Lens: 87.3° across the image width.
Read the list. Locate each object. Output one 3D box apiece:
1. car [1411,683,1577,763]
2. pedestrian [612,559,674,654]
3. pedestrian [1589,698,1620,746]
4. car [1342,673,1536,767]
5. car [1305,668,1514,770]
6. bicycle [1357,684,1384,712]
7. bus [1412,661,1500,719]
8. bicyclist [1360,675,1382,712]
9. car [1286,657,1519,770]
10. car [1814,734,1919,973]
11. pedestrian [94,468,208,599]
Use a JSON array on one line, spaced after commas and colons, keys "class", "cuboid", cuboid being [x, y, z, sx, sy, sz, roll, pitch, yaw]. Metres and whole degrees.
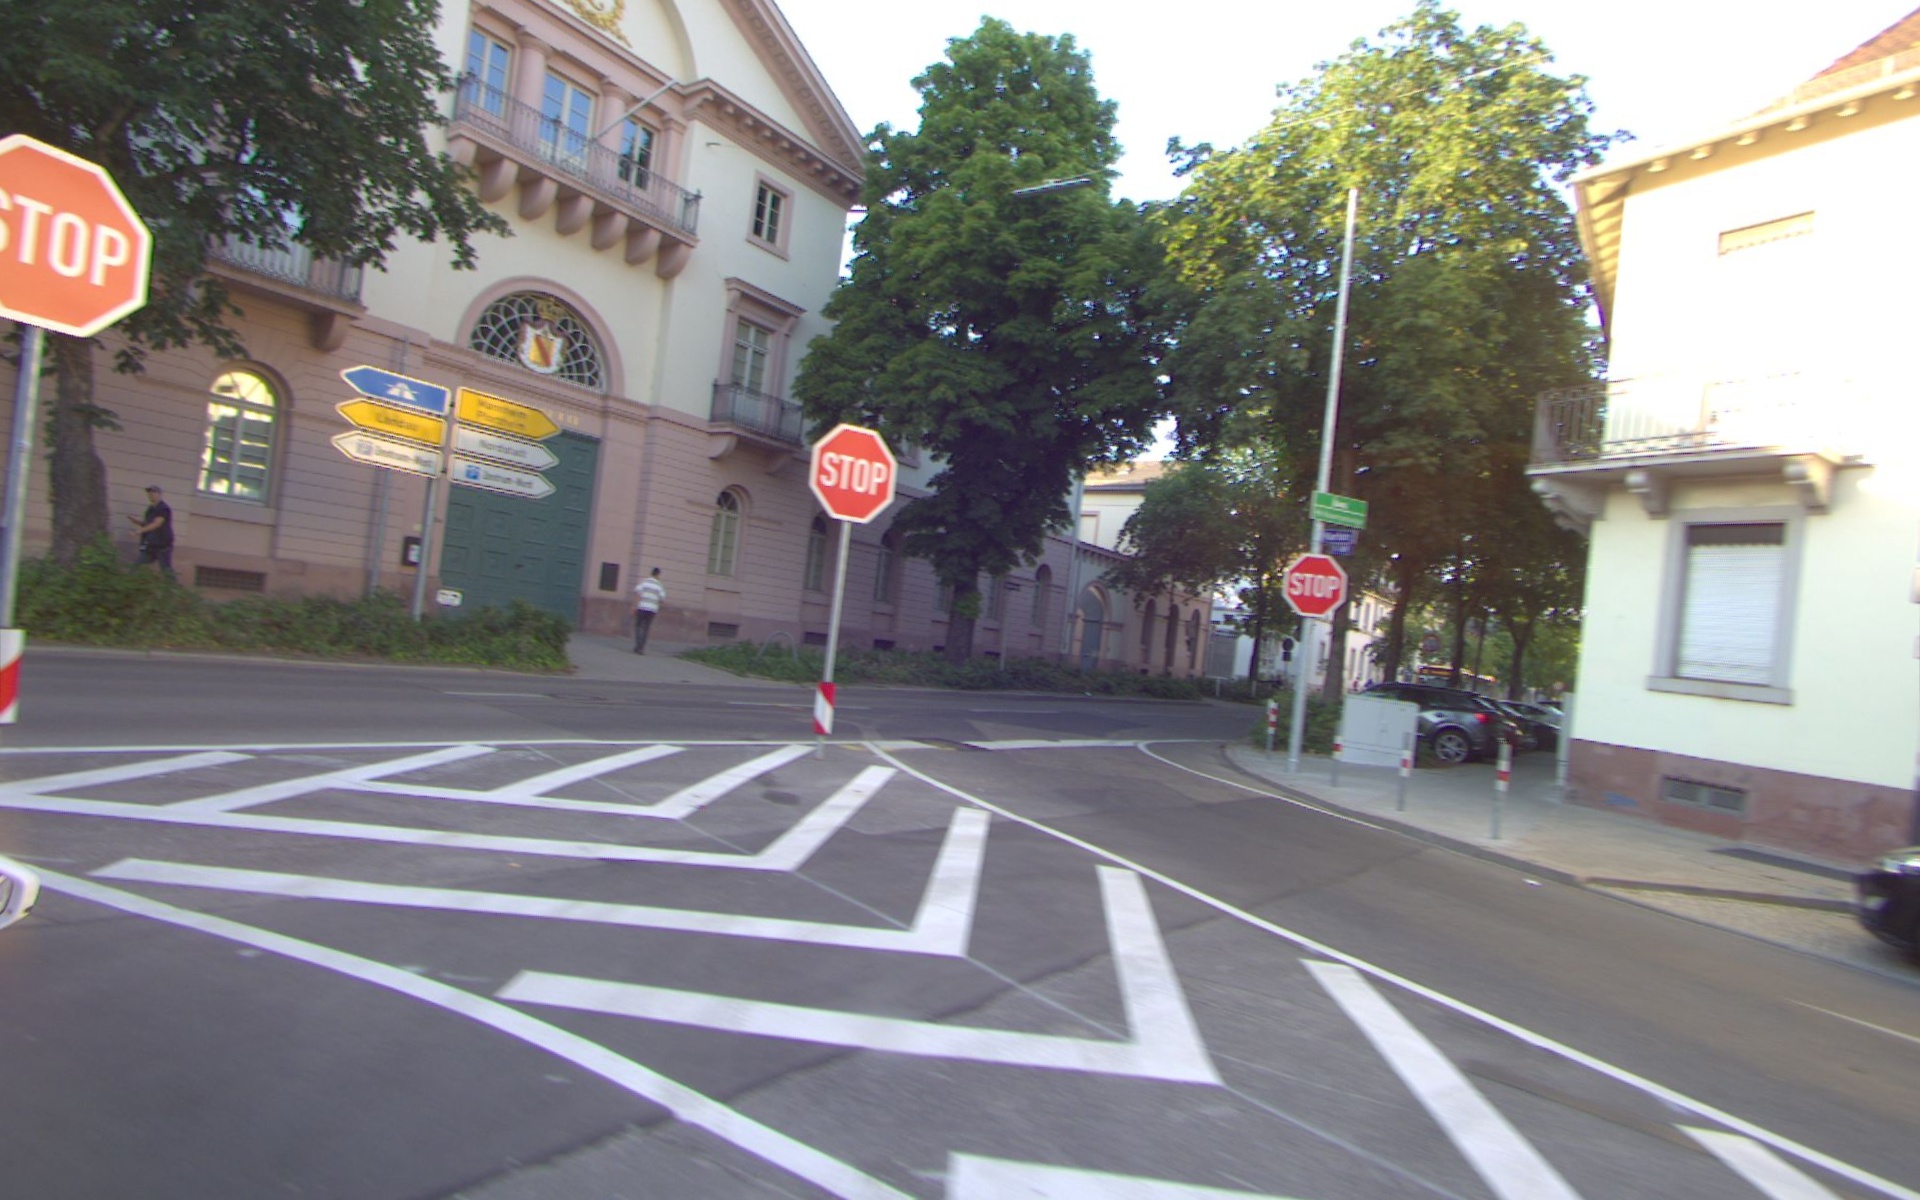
[{"class": "car", "cuboid": [15.404, 3.511, 29.102, 3.938, 1.634, 1.719, 6, -1, 36]}, {"class": "pedestrian", "cuboid": [-6.633, 0.132, 21.040, 0.794, 1.854, 0.920, 7, -1, -37]}, {"class": "pedestrian", "cuboid": [25.578, 4.845, 39.925, 0.794, 1.792, 1.018, 7, -1, 36]}, {"class": "car", "cuboid": [11.697, 2.891, 24.658, 3.938, 1.634, 1.719, 6, -1, 36]}, {"class": "car", "cuboid": [10.145, 2.641, 22.817, 3.938, 1.634, 1.719, 6, -1, 36]}, {"class": "bicycle", "cuboid": [21.847, 5.218, 53.524, 0.772, 1.345, 2.072, 4, -3, 37]}, {"class": "bus", "cuboid": [31.144, 5.736, 62.809, 2.673, 3.034, 12.046, 4, -3, 37]}, {"class": "bicyclist", "cuboid": [21.845, 4.994, 53.501, 0.772, 1.860, 0.824, 4, -2, 37]}, {"class": "car", "cuboid": [9.005, 2.263, 20.566, 3.938, 1.634, 1.824, 6, -1, 36]}, {"class": "car", "cuboid": [8.233, 1.975, 5.961, 1.788, 1.559, 4.398, 9, -2, -29]}, {"class": "pedestrian", "cuboid": [-12.696, -1.034, 15.802, 0.789, 1.861, 1.079, 7, -1, 37]}]
